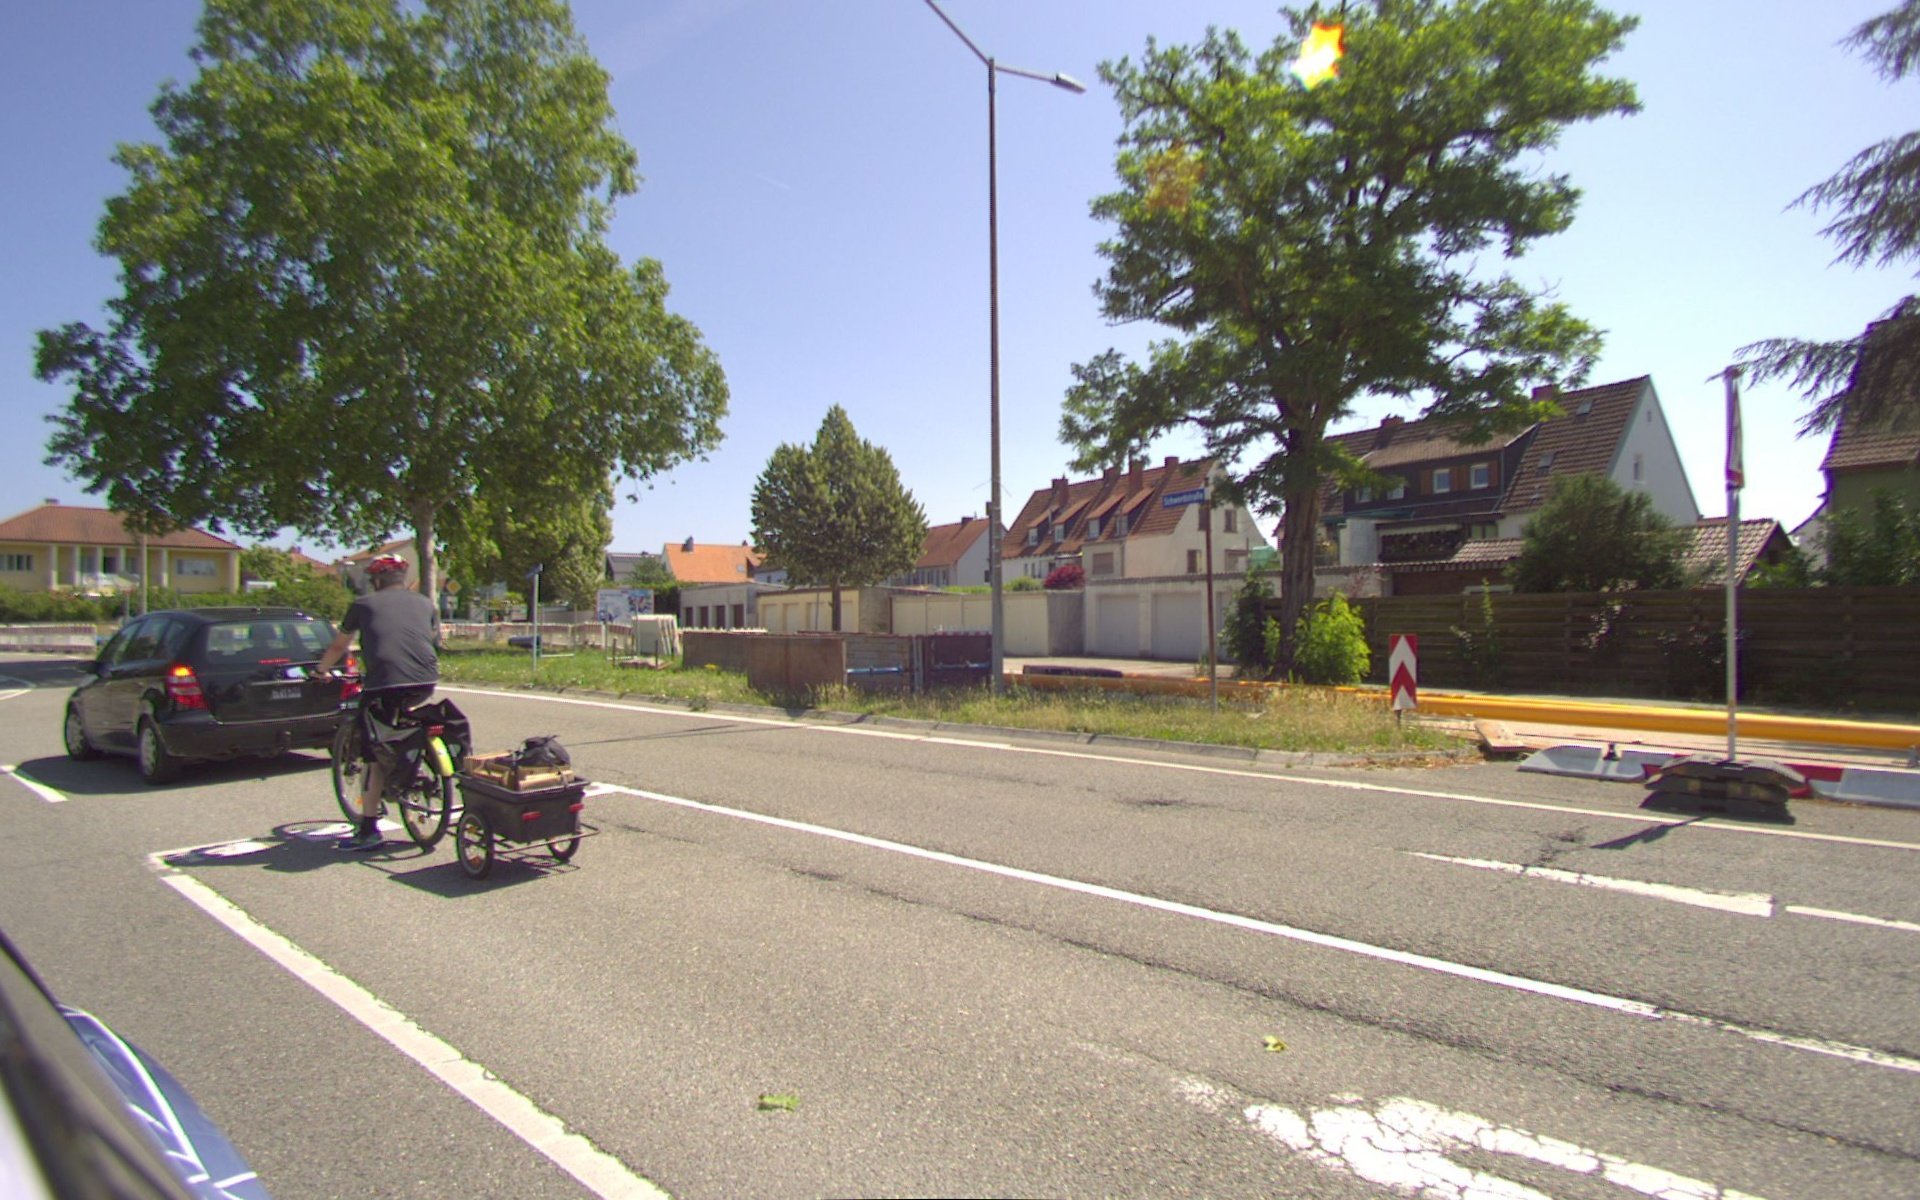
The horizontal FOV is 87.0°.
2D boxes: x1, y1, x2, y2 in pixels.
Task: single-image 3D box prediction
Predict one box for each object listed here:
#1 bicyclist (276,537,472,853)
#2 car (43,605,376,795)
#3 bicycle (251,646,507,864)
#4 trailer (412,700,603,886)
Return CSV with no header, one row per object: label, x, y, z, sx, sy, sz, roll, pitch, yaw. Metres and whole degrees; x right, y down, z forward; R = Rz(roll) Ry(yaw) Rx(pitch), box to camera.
bicyclist,-3.862,0.574,6.671,0.975,1.880,0.837,-2,-1,40
car,-7.695,0.873,10.273,3.824,1.544,1.709,-1,0,37
bicycle,-3.874,0.919,6.678,1.975,1.175,0.841,-1,-1,40
trailer,-2.588,1.046,5.760,1.131,0.862,0.564,-2,-2,40
